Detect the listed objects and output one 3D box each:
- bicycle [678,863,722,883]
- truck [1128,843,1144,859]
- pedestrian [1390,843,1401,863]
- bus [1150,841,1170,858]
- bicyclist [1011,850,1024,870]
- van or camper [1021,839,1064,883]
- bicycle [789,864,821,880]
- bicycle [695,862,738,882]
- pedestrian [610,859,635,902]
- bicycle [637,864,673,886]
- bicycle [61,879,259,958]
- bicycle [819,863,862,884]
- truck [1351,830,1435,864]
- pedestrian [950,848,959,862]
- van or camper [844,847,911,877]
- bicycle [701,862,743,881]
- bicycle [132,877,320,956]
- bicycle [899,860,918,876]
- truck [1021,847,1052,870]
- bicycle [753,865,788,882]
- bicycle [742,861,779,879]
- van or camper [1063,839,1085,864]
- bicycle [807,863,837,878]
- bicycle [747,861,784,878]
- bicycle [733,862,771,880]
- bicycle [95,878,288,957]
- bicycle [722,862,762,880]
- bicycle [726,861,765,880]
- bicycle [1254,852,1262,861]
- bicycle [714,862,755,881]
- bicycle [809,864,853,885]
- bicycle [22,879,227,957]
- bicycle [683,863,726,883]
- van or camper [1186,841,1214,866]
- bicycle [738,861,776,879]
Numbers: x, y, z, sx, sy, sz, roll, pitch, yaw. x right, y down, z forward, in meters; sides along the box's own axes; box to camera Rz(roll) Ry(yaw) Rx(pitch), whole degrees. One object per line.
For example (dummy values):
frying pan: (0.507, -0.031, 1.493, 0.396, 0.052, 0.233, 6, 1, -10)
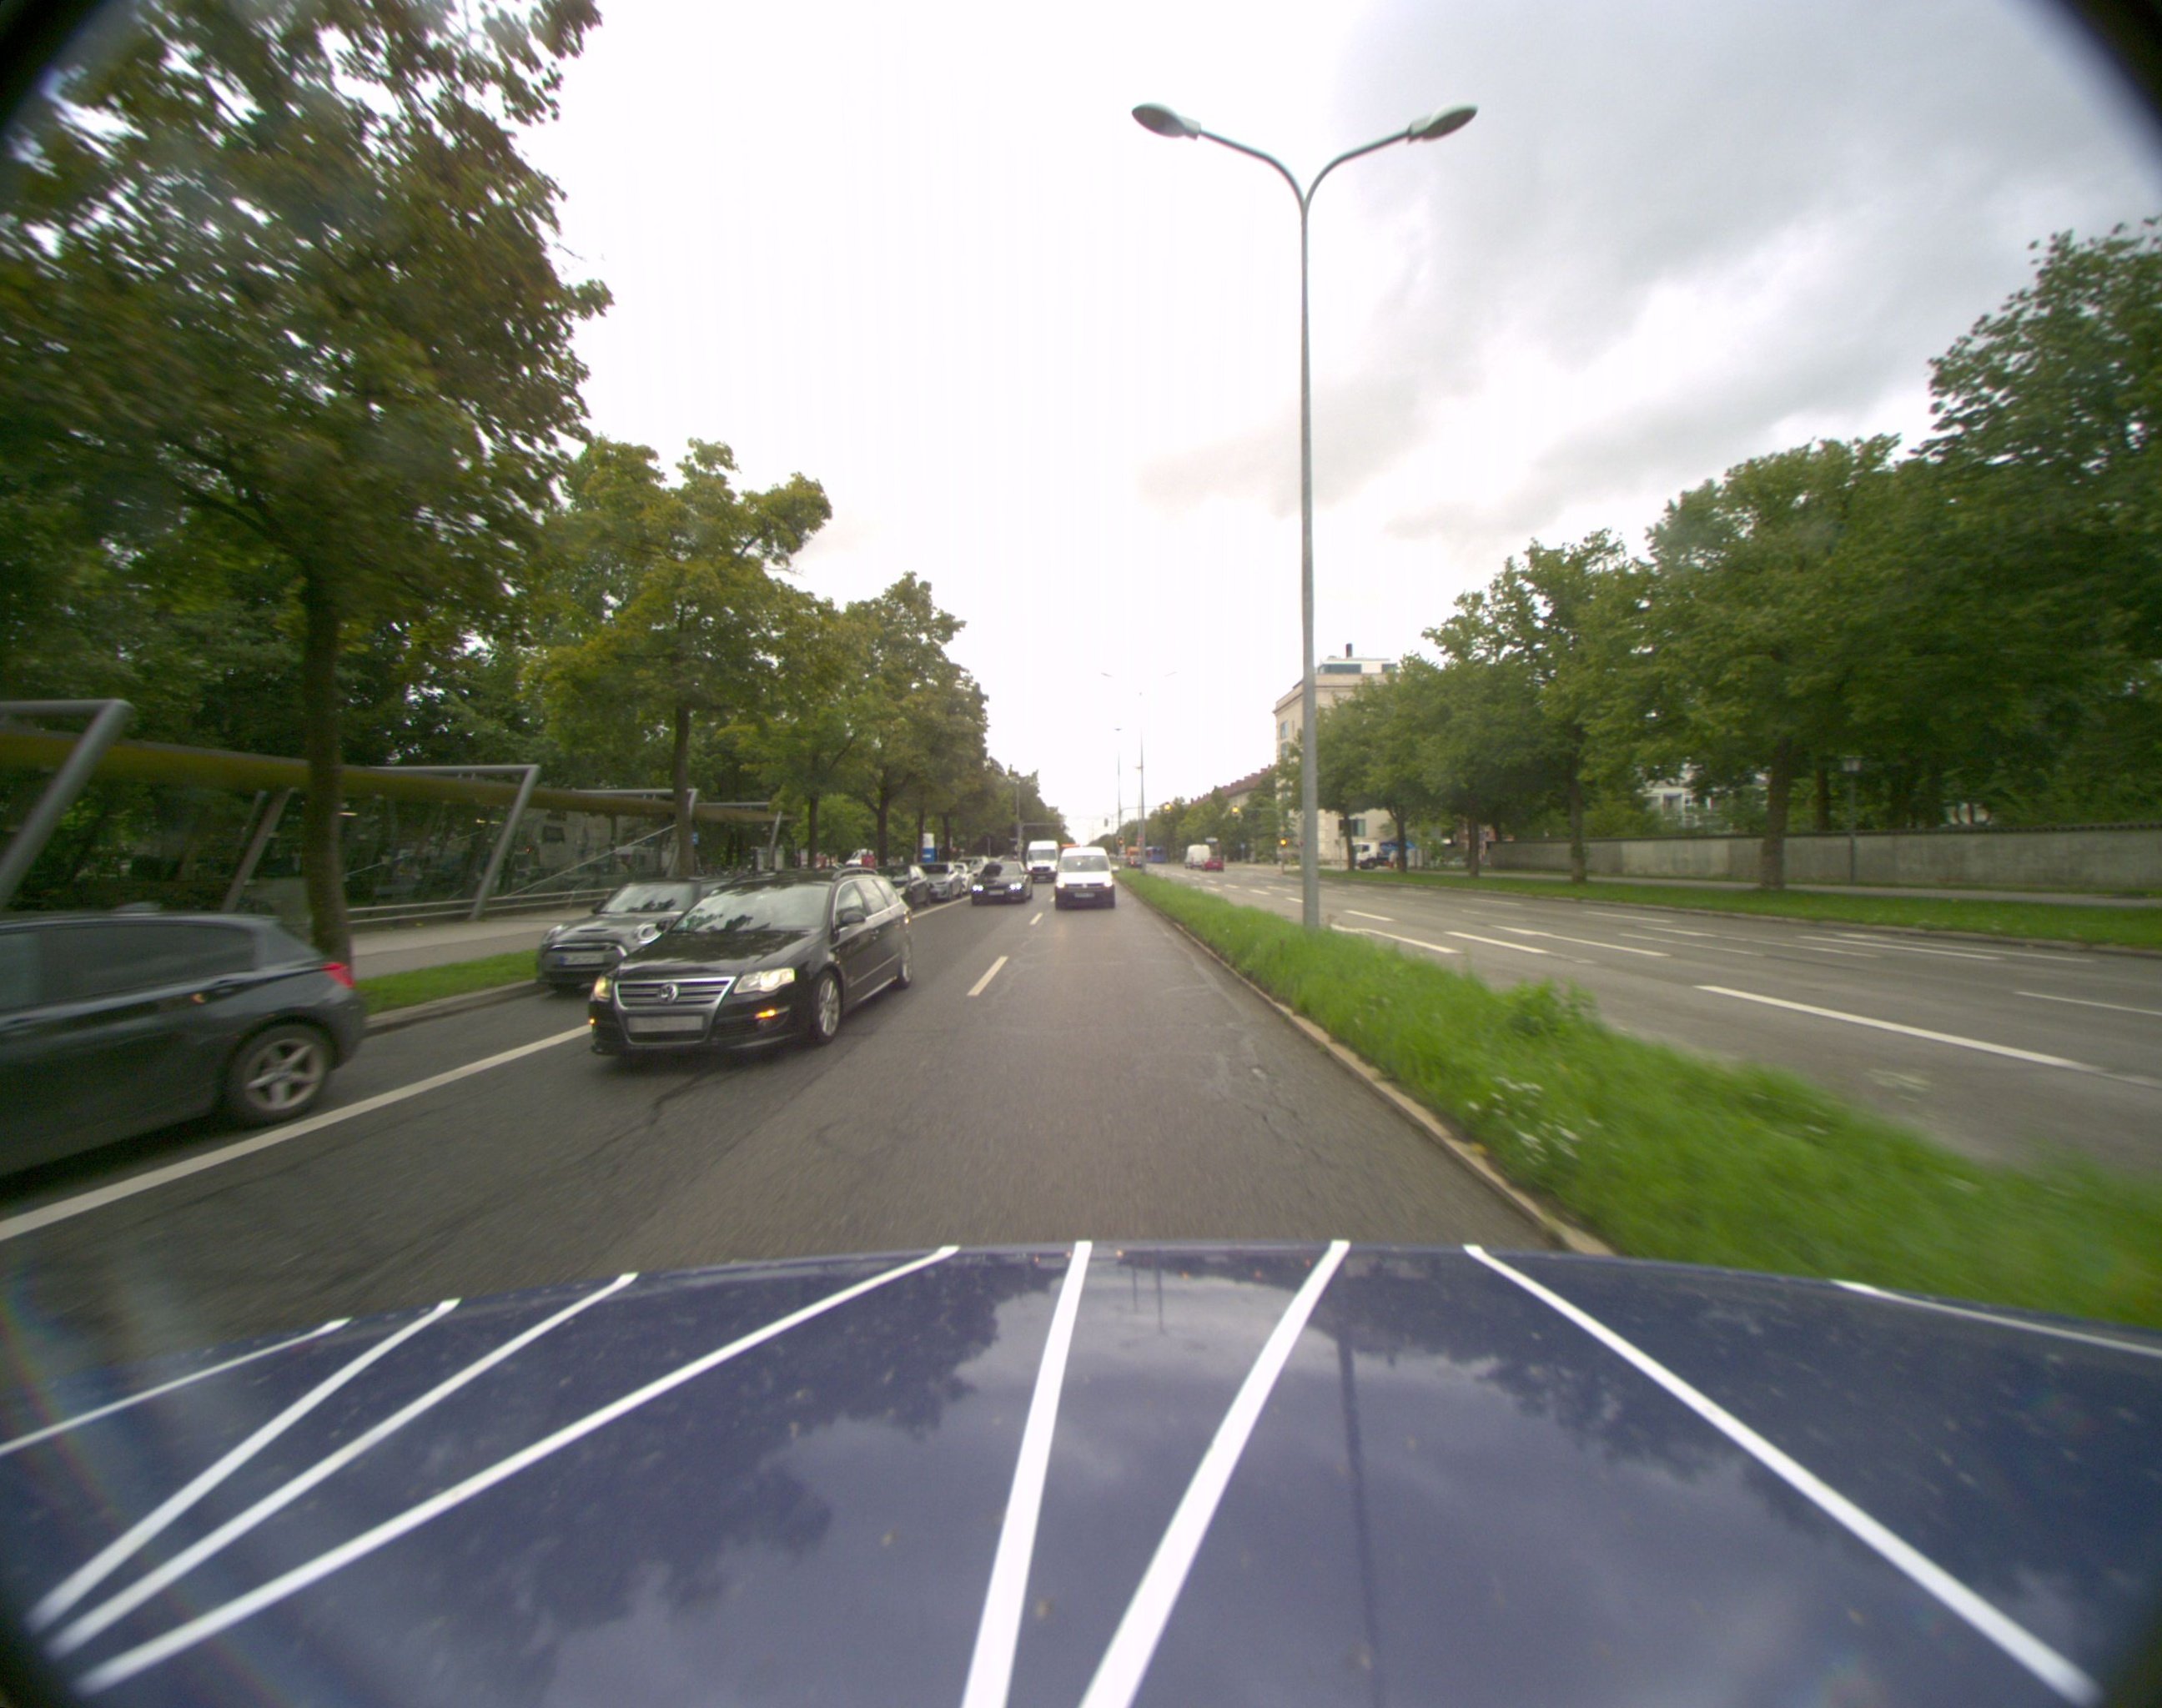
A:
bicycle: (-22.817, 1.131, 45.483, 2.344, 1.151, 0.529, 1, 0, 0)
truck: (11.973, -0.737, 165.772, 2.787, 3.336, 7.265, -1, 0, 0)
pedestrian: (27.515, -0.090, 66.516, 0.709, 1.730, 0.517, -1, 1, -4)
bus: (16.184, -0.952, 156.517, 2.752, 3.324, 12.047, 0, 0, -1)
bicyclist: (-5.677, 0.518, 68.157, 0.829, 1.754, 0.744, -2, 1, -34)
van or camper: (-2.368, 0.392, 48.549, 2.183, 2.546, 7.074, -1, 0, 1)
bicycle: (-20.604, 1.327, 56.795, 2.133, 1.147, 0.716, -1, 1, -45)
bicycle: (-22.598, 1.119, 47.120, 2.344, 1.151, 0.529, 1, 0, 0)
pedestrian: (-16.560, 0.948, 27.468, 0.580, 1.504, 0.693, -1, 1, -17)
bicycle: (-23.549, 1.142, 42.072, 0.528, 1.151, 2.346, 1, 0, 4)
bicycle: (-17.528, 1.180, 14.600, 0.646, 1.273, 2.550, -1, 0, 1)
bicycle: (-14.099, 1.139, 44.560, 2.346, 1.151, 0.529, 1, 0, -8)
truck: (33.184, -0.698, 81.028, 7.816, 3.468, 2.772, -1, 1, 3)
pedestrian: (-13.903, 0.138, 83.435, 0.691, 1.529, 0.738, -1, 1, 20)
van or camper: (-16.419, 0.576, 61.715, 2.144, 2.283, 6.207, -1, 0, 18)
bicycle: (-22.524, 1.115, 47.712, 2.344, 1.151, 0.529, 1, 0, 0)
bicycle: (-16.200, 1.134, 14.541, 0.646, 1.273, 2.550, -1, 0, 1)
bicycle: (-13.552, 1.063, 59.629, 0.863, 1.191, 2.000, 1, 1, 5)
truck: (-5.348, 0.501, 91.579, 1.997, 2.589, 7.232, -2, 1, 10)
bicycle: (-22.327, 1.397, 54.649, 2.133, 1.147, 0.716, -1, 1, -42)
bicycle: (-22.174, 1.090, 52.594, 2.344, 1.151, 0.529, 1, 0, 0)
van or camper: (-0.877, -0.332, 100.750, 2.780, 3.219, 7.074, -1, 0, 1)
bicycle: (-20.461, 1.314, 59.965, 0.716, 1.147, 2.133, 0, 1, 41)
bicycle: (-22.093, 1.085, 53.186, 2.344, 1.151, 0.529, 1, 0, 0)
bicycle: (-22.256, 1.176, 51.419, 2.344, 1.151, 0.529, 1, 0, 0)
bicycle: (-16.872, 1.157, 14.552, 0.646, 1.273, 2.550, -1, 0, 1)
bicycle: (-22.319, 1.101, 50.004, 2.344, 1.151, 0.529, 1, 0, 0)
bicycle: (-22.383, 1.102, 50.729, 2.344, 1.151, 0.529, 1, 0, 0)
bicycle: (24.253, 0.330, 104.127, 0.546, 1.174, 1.826, -1, 0, 0)
bicycle: (-22.310, 1.124, 48.947, 2.344, 1.151, 0.529, 1, 0, 0)
bicycle: (-14.352, 1.151, 43.650, 2.344, 1.151, 0.529, 1, 0, 0)
bicycle: (-18.210, 1.166, 14.599, 0.646, 1.273, 2.550, -1, 0, 1)
bicycle: (-22.861, 1.131, 46.119, 2.344, 1.151, 0.529, 1, 0, 0)
van or camper: (13.112, -0.059, 84.235, 2.183, 2.631, 6.951, 1, 0, 1)
bicycle: (-22.191, 1.104, 52.003, 2.344, 1.151, 0.529, 1, 0, 0)
